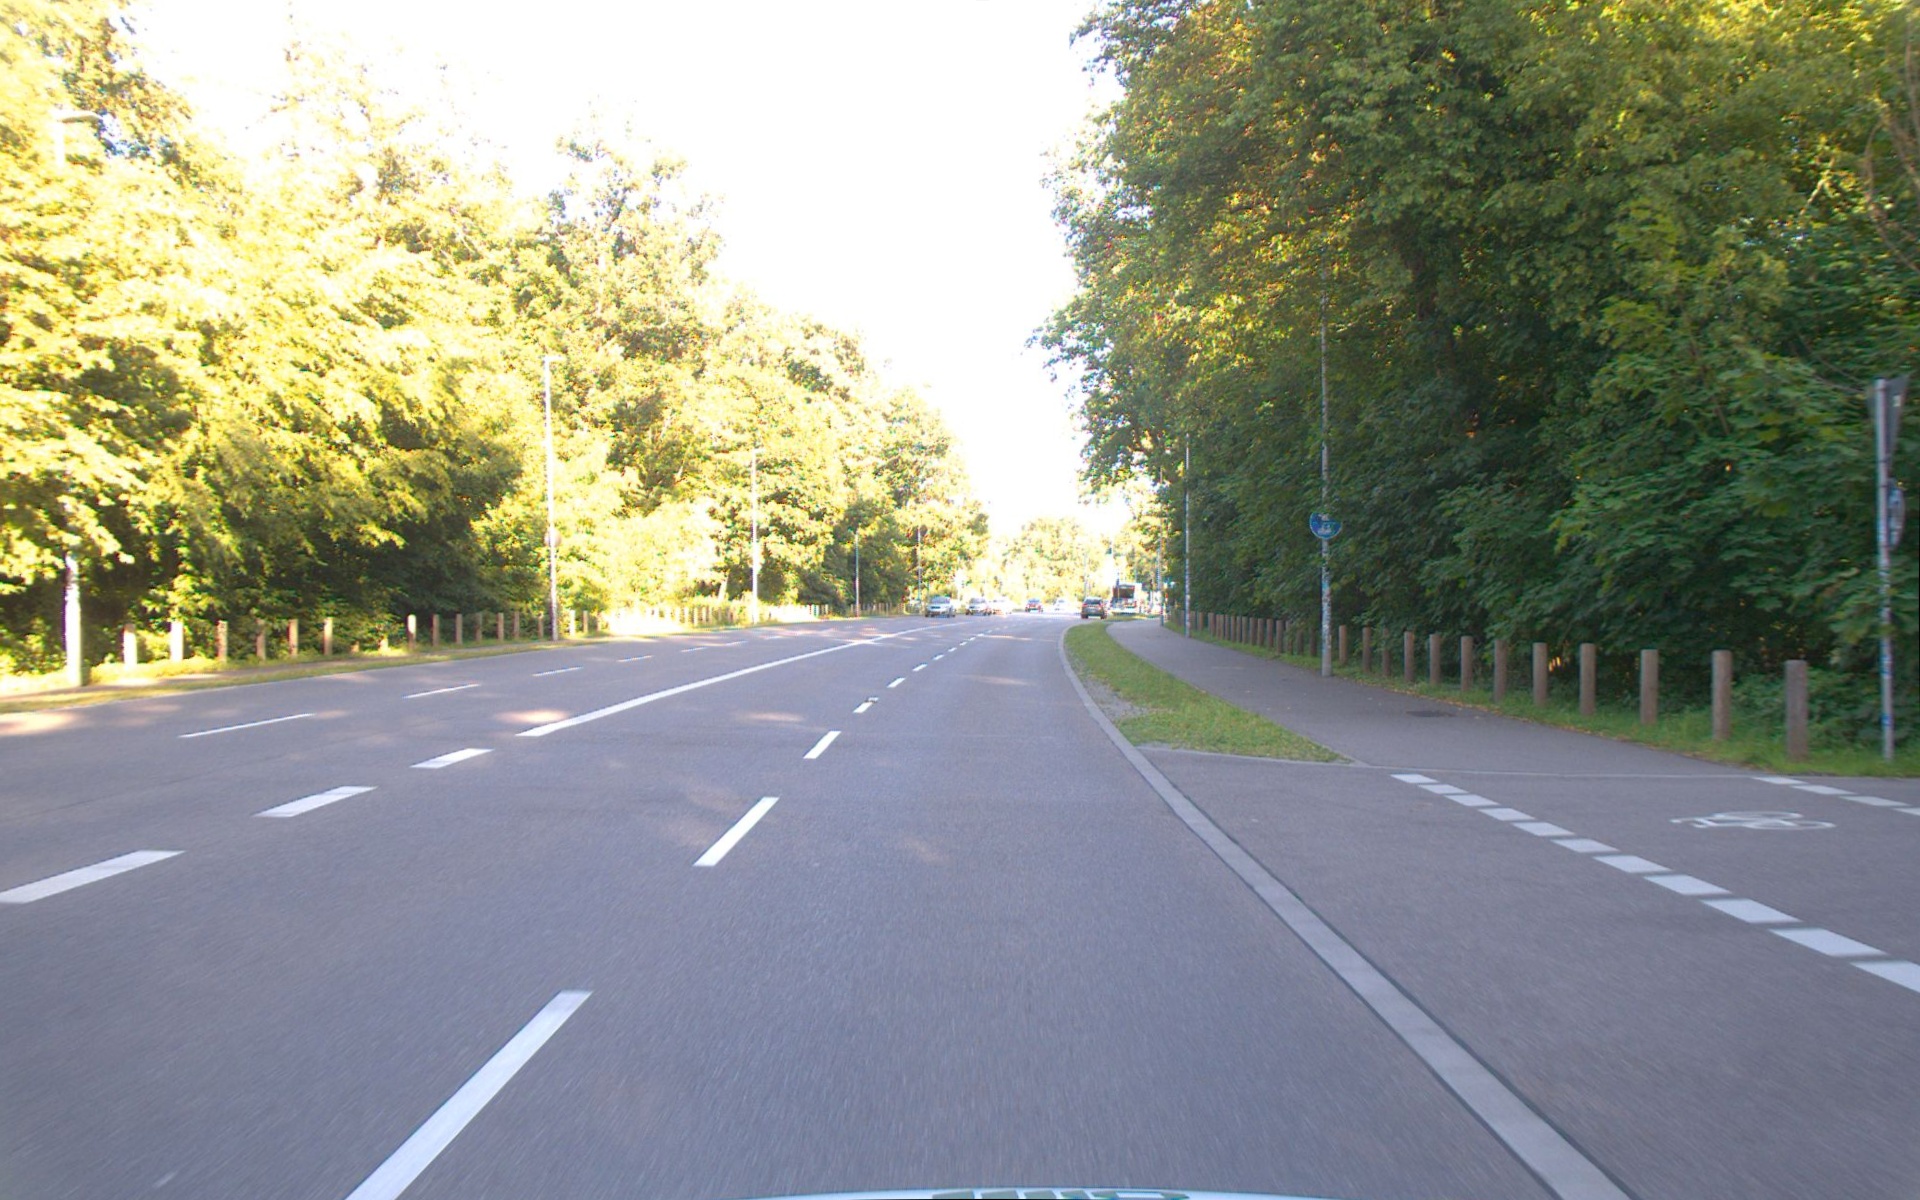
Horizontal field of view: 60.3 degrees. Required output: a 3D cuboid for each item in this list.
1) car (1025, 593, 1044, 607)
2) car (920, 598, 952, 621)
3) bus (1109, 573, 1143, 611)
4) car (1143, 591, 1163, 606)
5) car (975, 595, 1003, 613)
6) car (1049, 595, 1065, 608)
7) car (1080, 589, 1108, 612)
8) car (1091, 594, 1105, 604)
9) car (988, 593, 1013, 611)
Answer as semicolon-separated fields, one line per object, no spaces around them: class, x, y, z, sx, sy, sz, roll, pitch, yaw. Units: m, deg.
car;8.181;-0.007;181.582;1.627;1.544;3.810;-1;0;11
car;-1.634;0.657;114.946;1.742;1.432;4.169;0;1;5
bus;15.641;-0.808;155.743;2.549;3.427;7.983;0;1;10
car;22.713;-0.185;194.581;1.823;1.713;3.775;-1;0;14
car;2.401;0.298;136.077;1.742;1.489;4.278;0;0;8
car;12.090;0.189;205.248;1.620;1.534;4.004;-1;0;9
car;10.877;0.025;133.732;1.840;1.796;4.004;-1;1;11
car;20.490;-0.119;245.353;1.674;1.489;4.104;1;1;11
car;3.644;0.151;149.027;1.745;1.549;4.402;0;1;9
